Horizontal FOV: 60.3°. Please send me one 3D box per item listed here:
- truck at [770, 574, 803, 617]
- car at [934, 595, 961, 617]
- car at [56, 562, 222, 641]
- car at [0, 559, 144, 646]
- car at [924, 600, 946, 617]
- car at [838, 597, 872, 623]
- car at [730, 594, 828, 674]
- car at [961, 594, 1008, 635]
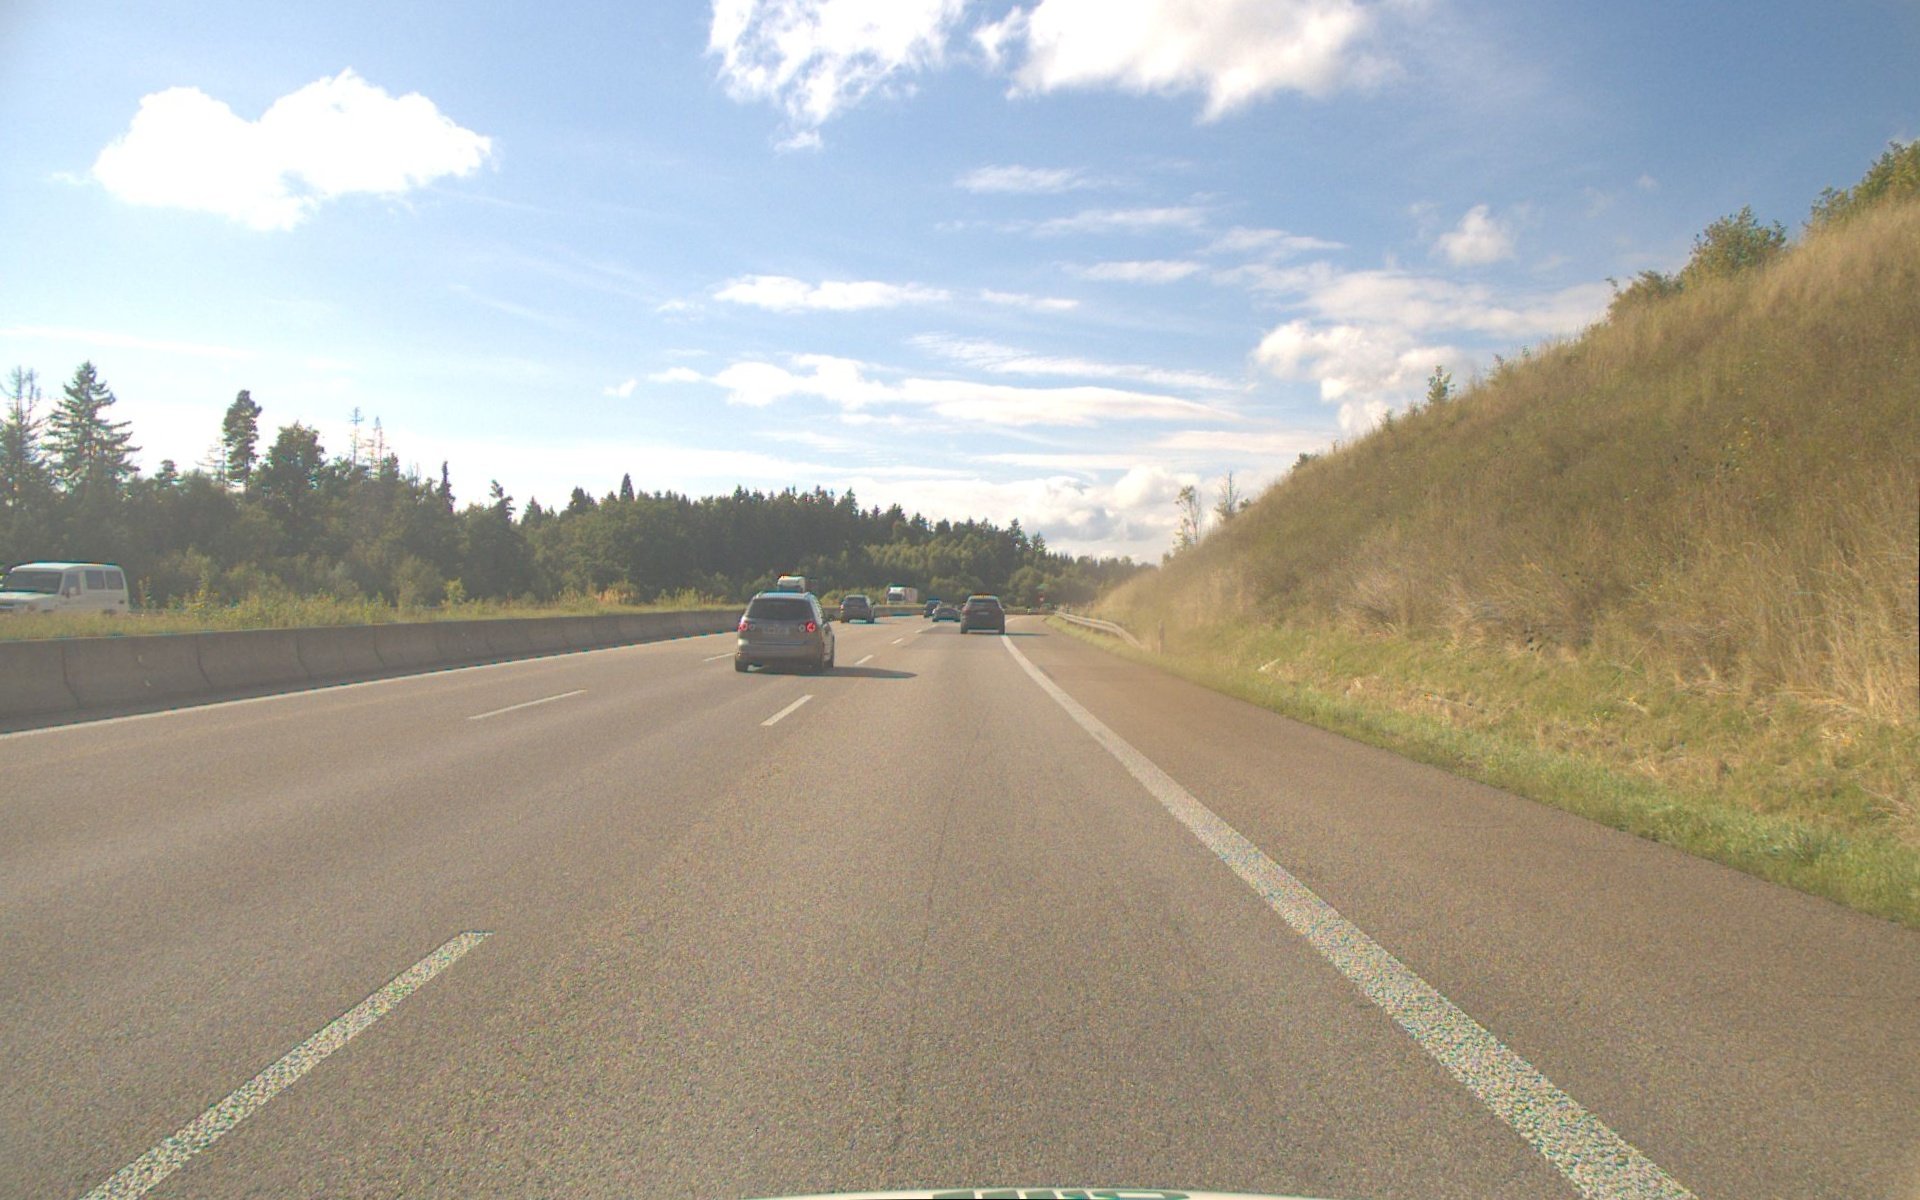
[{"bbox_3d":[-18.440,-0.507,176.336,2.744,4.469,5.465,1,0,1],"label":"truck"},{"bbox_3d":[-0.871,0.429,116.679,1.835,1.523,3.880,1,0,0],"label":"car"},{"bbox_3d":[-22.957,0.036,46.512,1.953,2.049,5.386,1,0,0],"label":"car"},{"bbox_3d":[-22.967,0.047,41.845,1.953,2.049,5.386,1,0,0],"label":"car"},{"bbox_3d":[-2.244,0.754,147.302,1.835,1.523,3.880,1,0,0],"label":"car"},{"bbox_3d":[-6.330,0.576,100.130,1.835,1.523,3.879,1,0,-1],"label":"car"},{"bbox_3d":[-3.628,0.647,33.773,1.837,1.523,3.876,1,0,-4],"label":"car"},{"bbox_3d":[1.055,0.618,71.887,1.836,1.704,3.888,1,0,-2],"label":"car"}]
